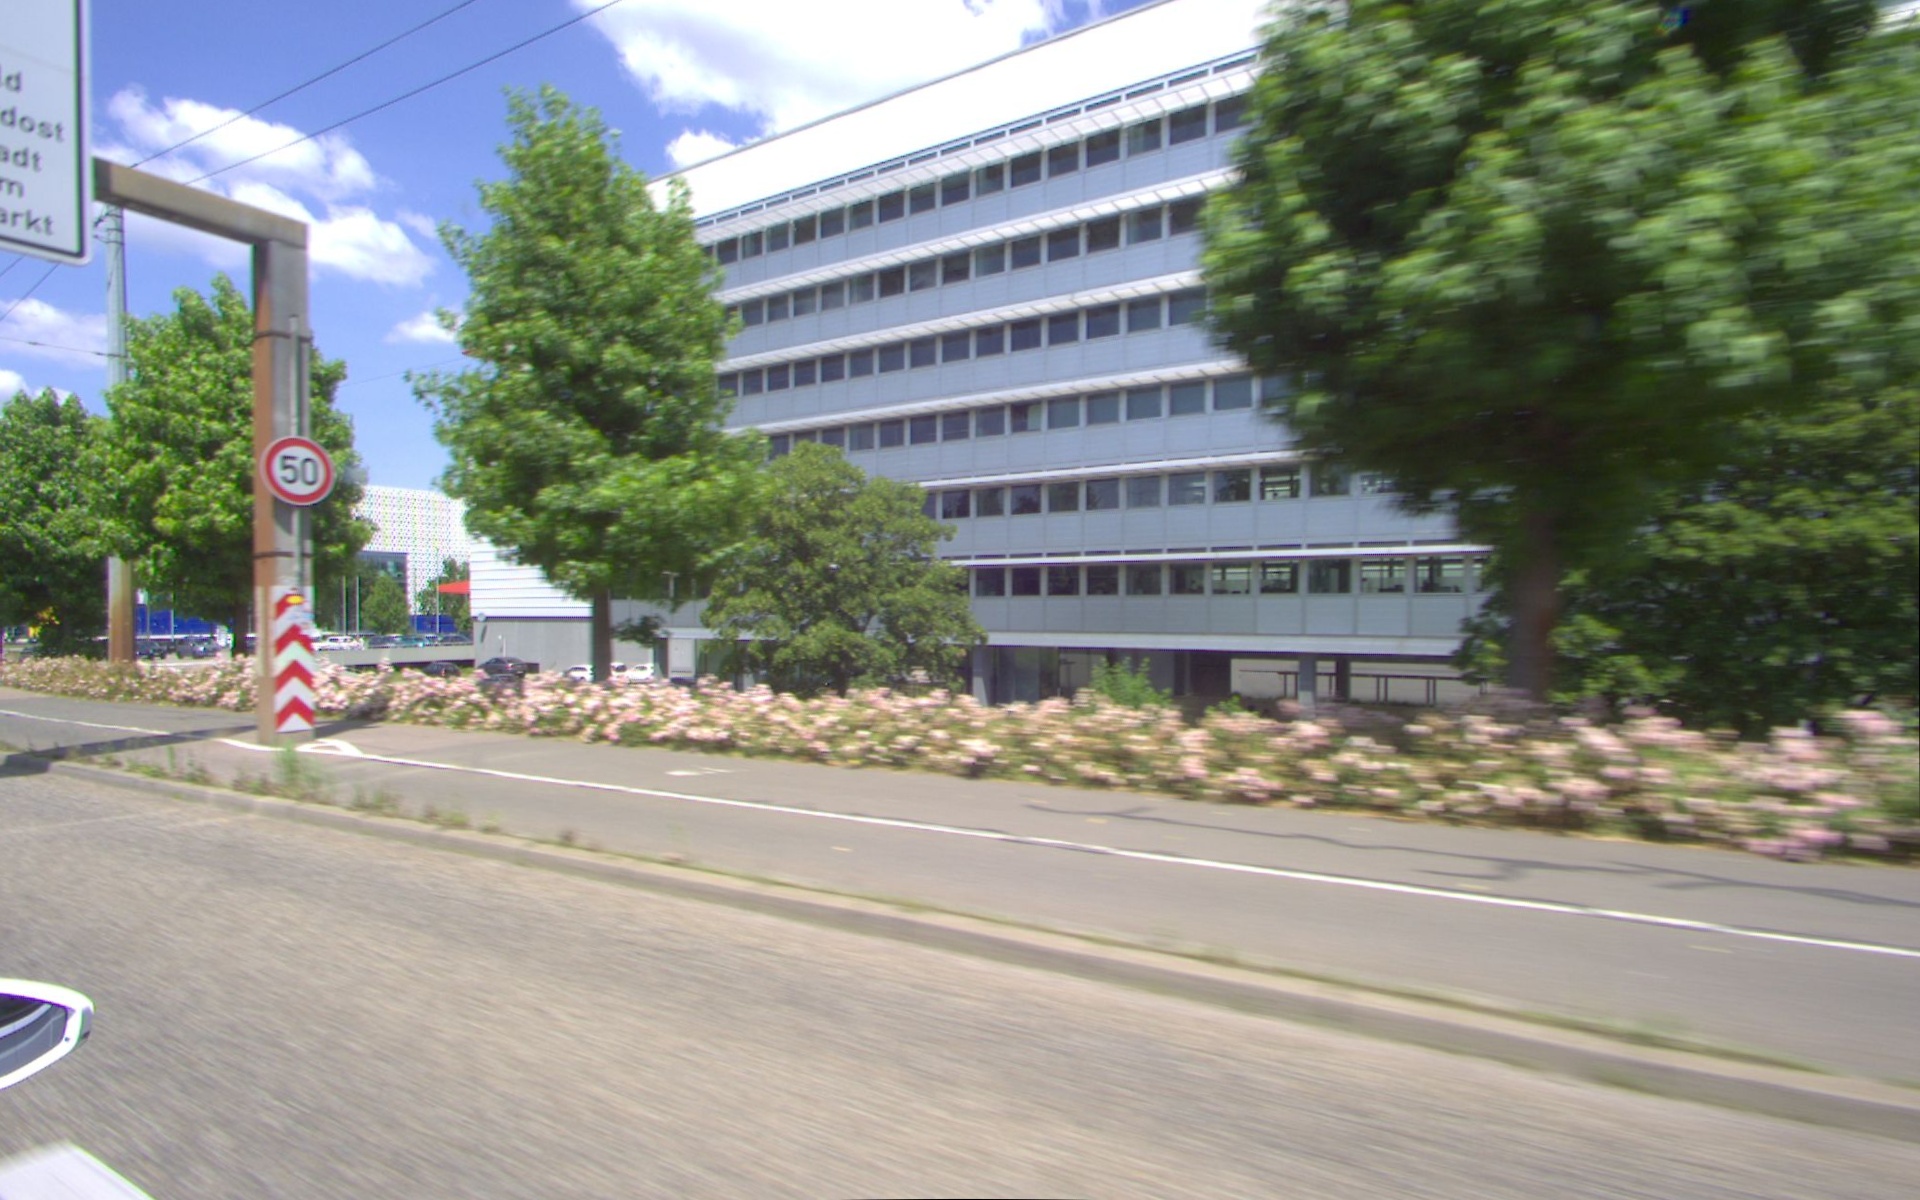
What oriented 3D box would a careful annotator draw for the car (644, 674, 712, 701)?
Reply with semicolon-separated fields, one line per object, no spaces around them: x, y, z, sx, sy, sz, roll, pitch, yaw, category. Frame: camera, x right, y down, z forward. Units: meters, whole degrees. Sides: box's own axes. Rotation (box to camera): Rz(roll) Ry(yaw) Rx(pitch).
-17.720;5.470;62.930;4.176;1.501;1.739;0;-2;30;car

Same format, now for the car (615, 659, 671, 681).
-24.050;5.287;75.956;4.179;1.501;1.738;-1;-2;33;car

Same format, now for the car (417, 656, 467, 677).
-40.250;5.153;77.846;3.907;1.501;1.738;-1;-2;33;car

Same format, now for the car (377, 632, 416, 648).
-54.369;3.864;96.673;3.830;1.501;1.569;0;-2;30;car

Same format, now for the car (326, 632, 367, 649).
-57.142;3.741;93.258;3.830;1.501;1.569;0;-2;30;car

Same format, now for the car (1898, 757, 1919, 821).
28.067;5.463;28.409;1.523;1.536;3.358;0;-2;33;car

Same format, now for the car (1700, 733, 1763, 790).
24.295;5.048;31.613;1.439;1.302;3.355;-1;-2;36;car

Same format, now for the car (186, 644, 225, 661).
-69.422;4.814;92.131;3.830;1.501;1.569;0;-2;30;car

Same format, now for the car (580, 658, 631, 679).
-27.656;5.310;78.179;3.907;1.501;1.738;-1;-2;33;car

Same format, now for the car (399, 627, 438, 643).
-53.626;3.450;99.157;3.830;1.501;1.569;0;-2;30;car

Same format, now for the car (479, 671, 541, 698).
-29.171;5.458;64.912;4.029;1.501;1.738;-1;-2;33;car

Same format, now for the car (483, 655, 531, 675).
-36.860;5.257;81.481;3.907;1.501;1.738;-1;-2;33;car

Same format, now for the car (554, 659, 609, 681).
-28.538;5.269;75.429;4.179;1.501;1.738;-1;-2;33;car

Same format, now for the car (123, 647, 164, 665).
-71.825;4.929;88.064;3.830;1.501;1.569;0;-2;30;car
